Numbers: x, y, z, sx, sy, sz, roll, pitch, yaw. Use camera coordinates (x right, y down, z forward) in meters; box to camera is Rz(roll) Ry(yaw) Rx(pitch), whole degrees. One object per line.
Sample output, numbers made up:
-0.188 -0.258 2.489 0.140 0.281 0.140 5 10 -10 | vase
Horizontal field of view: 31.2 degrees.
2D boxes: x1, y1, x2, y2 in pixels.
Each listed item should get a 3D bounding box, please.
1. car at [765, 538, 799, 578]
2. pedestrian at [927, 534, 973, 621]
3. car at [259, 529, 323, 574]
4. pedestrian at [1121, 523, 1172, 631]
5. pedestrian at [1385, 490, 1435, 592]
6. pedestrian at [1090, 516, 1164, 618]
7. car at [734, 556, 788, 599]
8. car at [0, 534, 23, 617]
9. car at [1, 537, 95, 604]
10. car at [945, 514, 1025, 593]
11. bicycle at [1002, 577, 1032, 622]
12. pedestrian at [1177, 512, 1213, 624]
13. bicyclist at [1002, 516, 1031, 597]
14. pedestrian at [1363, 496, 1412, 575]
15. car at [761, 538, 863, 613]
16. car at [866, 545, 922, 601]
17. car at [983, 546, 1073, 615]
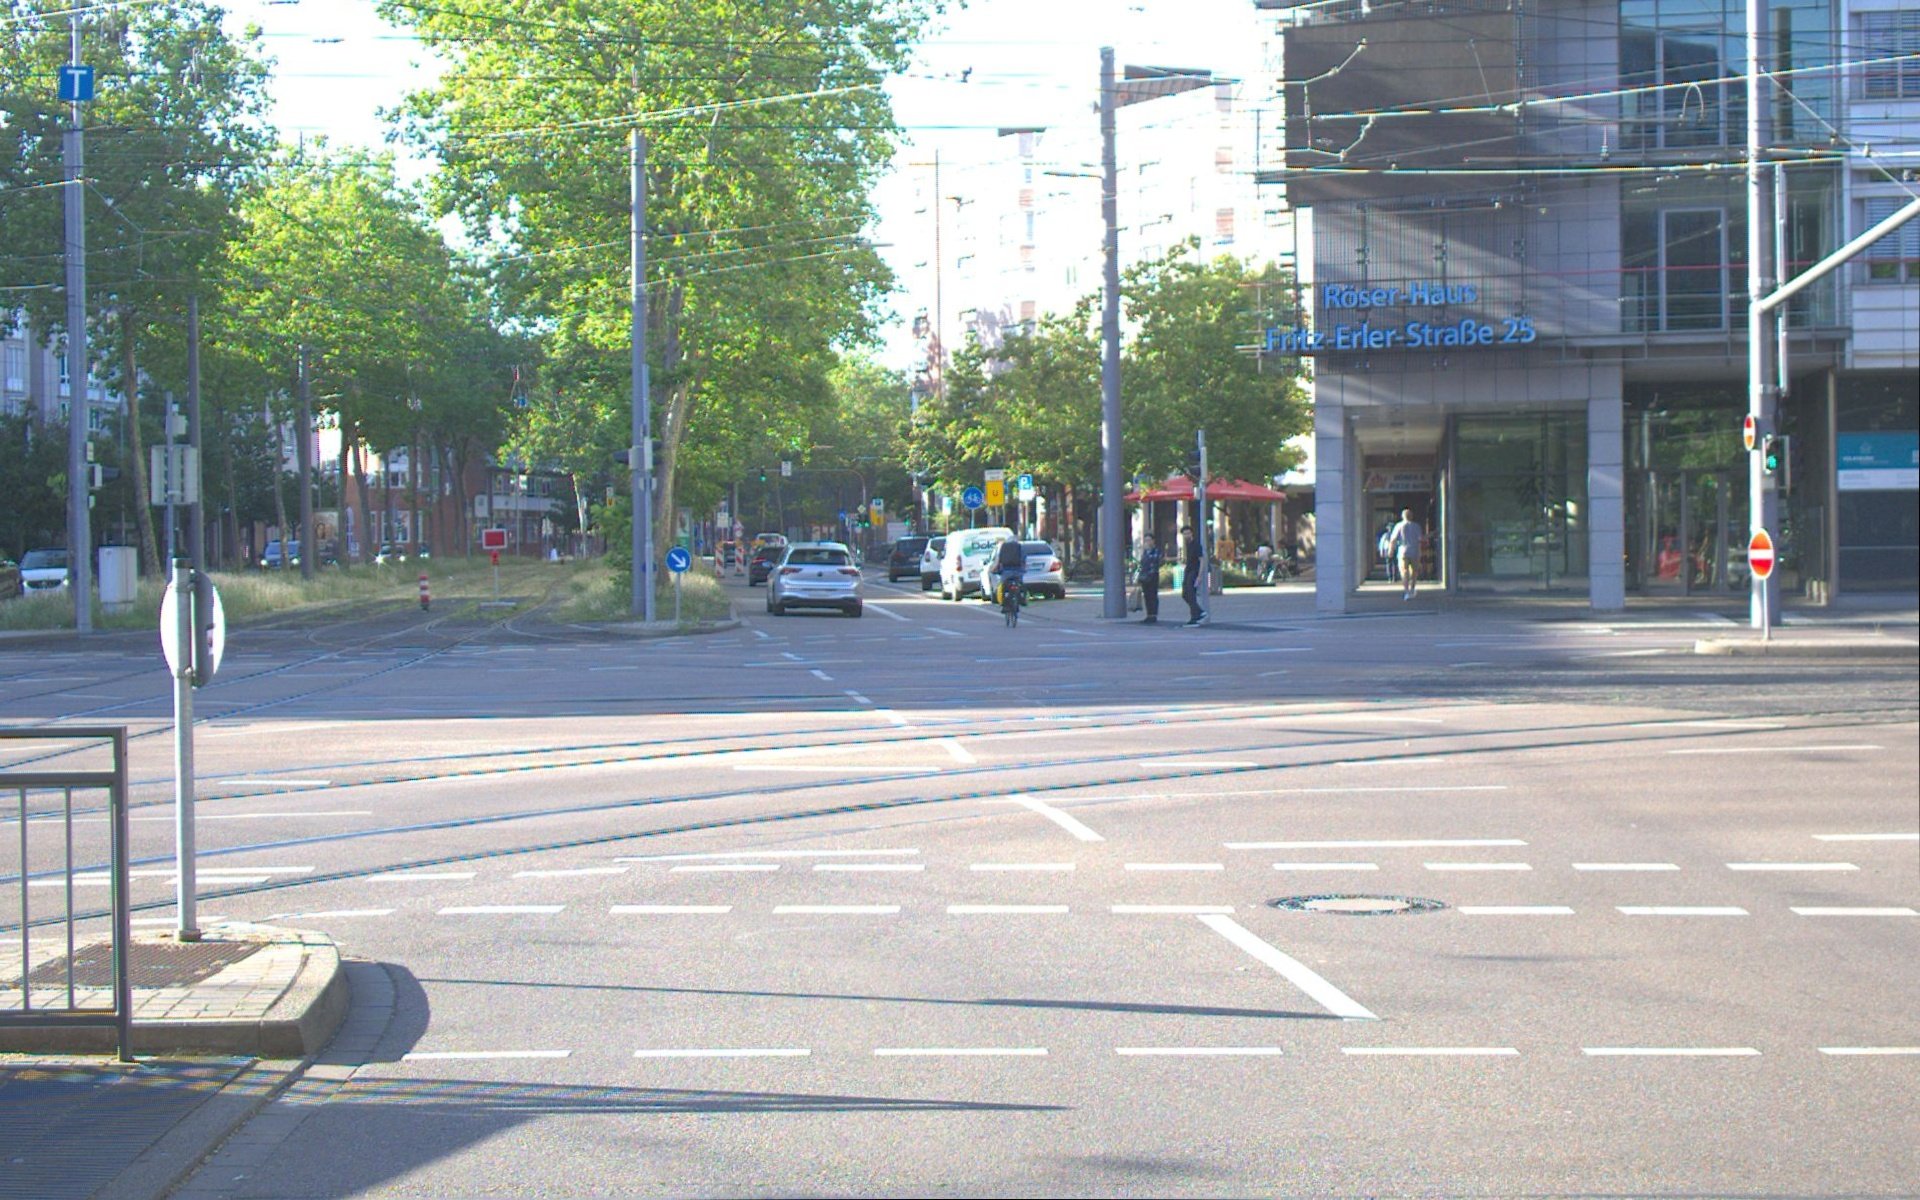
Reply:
-11.892 -2.763 229.454 1.993 2.008 3.998 1 -9 1 | car
-0.201 -0.445 67.578 0.869 1.702 0.794 1 0 -1 | pedestrian
-30.515 -2.237 156.885 1.876 2.007 4.471 -1 1 2 | car
3.491 -0.426 64.347 0.849 2.007 0.708 1 0 -3 | pedestrian
8.987 -1.174 68.670 0.869 2.007 0.794 1 -1 -1 | pedestrian
3.204 -0.636 66.079 1.342 1.944 1.011 -1 0 -1 | pedestrian
-6.725 -0.785 115.876 1.763 1.399 4.297 0 1 -4 | car
-21.669 -0.535 74.844 1.822 1.784 4.001 -1 1 -7 | car
-22.614 -0.745 85.335 1.676 1.601 4.001 1 1 -6 | car
0.623 -1.205 89.610 1.993 2.007 4.000 1 1 -1 | car
1.011 -0.015 61.353 0.490 0.785 1.862 0 1 -1 | bicycle
4.268 -0.585 62.537 0.586 2.007 0.620 1 0 0 | pedestrian
1.011 -0.779 61.332 0.486 1.434 0.615 1 1 -1 | bicyclist
11.915 -1.788 95.816 1.313 2.182 1.170 1 0 6 | pedestrian
-2.904 -0.501 68.058 1.748 1.413 4.000 0 1 1 | car
-2.424 -0.985 126.728 1.993 2.007 4.000 1 1 -1 | car
1.610 -0.473 82.790 2.029 1.590 4.000 1 1 -1 | car
